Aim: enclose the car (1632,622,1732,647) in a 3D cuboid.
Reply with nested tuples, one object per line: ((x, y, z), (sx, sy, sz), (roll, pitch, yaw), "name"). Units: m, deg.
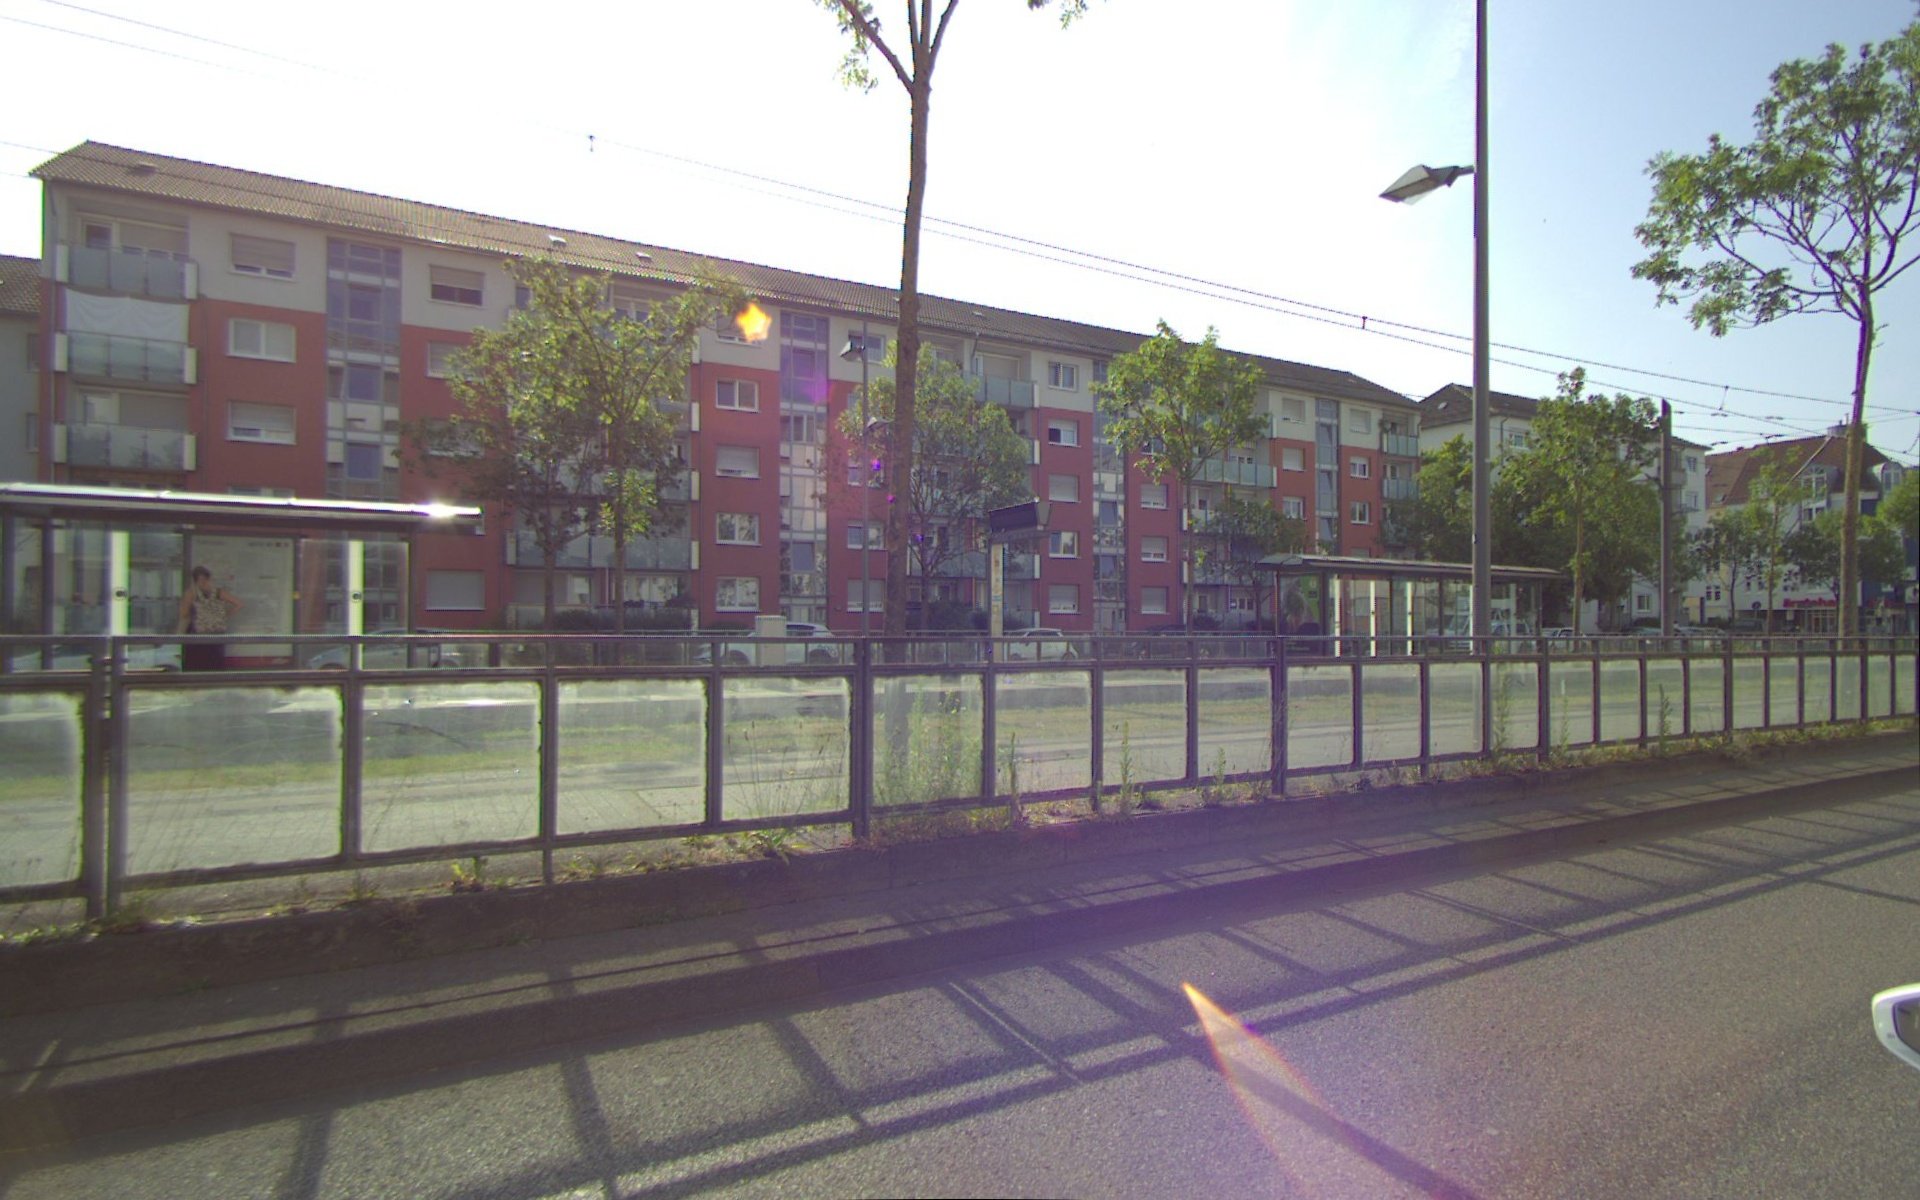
((37.753, 1.763, 52.620), (1.906, 1.260, 3.990), (0, -1, -13), "car")

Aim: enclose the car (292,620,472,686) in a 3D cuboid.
((-14.423, 1.281, 25.245), (3.781, 1.490, 1.824), (1, 0, -30), "car")

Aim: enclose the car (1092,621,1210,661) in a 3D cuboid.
((7.122, 1.503, 37.419), (4.021, 1.378, 1.971), (1, 0, -30), "car")

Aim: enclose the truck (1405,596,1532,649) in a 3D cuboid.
((26.397, 1.163, 52.053), (7.155, 2.597, 2.354), (1, 0, -30), "truck")

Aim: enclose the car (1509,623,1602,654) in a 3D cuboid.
((29.569, 1.888, 49.877), (4.628, 1.397, 1.971), (1, 0, -30), "car")

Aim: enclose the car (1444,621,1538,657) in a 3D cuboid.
((24.912, 1.808, 47.113), (4.230, 1.533, 1.971), (1, 0, -30), "car")

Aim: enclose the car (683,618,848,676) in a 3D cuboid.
((-5.832, 1.360, 30.192), (4.483, 1.577, 1.971), (1, 0, -30), "car")

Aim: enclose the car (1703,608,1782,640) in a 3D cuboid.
((51.845, 1.579, 66.553), (5.248, 2.058, 2.354), (1, 0, -30), "car")

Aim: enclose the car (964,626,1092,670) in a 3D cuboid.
((2.373, 1.622, 34.801), (4.021, 1.378, 1.971), (1, 0, -30), "car")

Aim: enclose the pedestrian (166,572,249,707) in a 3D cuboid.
((-9.698, 0.500, 12.970), (0.786, 1.675, 0.667), (1, -2, -33), "pedestrian")

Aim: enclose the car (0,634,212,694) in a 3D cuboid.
((-19.218, 1.370, 22.166), (4.115, 1.163, 1.824), (1, 0, -30), "car")

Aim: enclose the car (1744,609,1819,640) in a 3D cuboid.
((56.963, 1.667, 69.652), (5.248, 2.058, 2.354), (1, 0, -30), "car")

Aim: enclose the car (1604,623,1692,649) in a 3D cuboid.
((34.884, 1.788, 51.065), (1.796, 1.260, 4.001), (0, -1, 2), "car")
